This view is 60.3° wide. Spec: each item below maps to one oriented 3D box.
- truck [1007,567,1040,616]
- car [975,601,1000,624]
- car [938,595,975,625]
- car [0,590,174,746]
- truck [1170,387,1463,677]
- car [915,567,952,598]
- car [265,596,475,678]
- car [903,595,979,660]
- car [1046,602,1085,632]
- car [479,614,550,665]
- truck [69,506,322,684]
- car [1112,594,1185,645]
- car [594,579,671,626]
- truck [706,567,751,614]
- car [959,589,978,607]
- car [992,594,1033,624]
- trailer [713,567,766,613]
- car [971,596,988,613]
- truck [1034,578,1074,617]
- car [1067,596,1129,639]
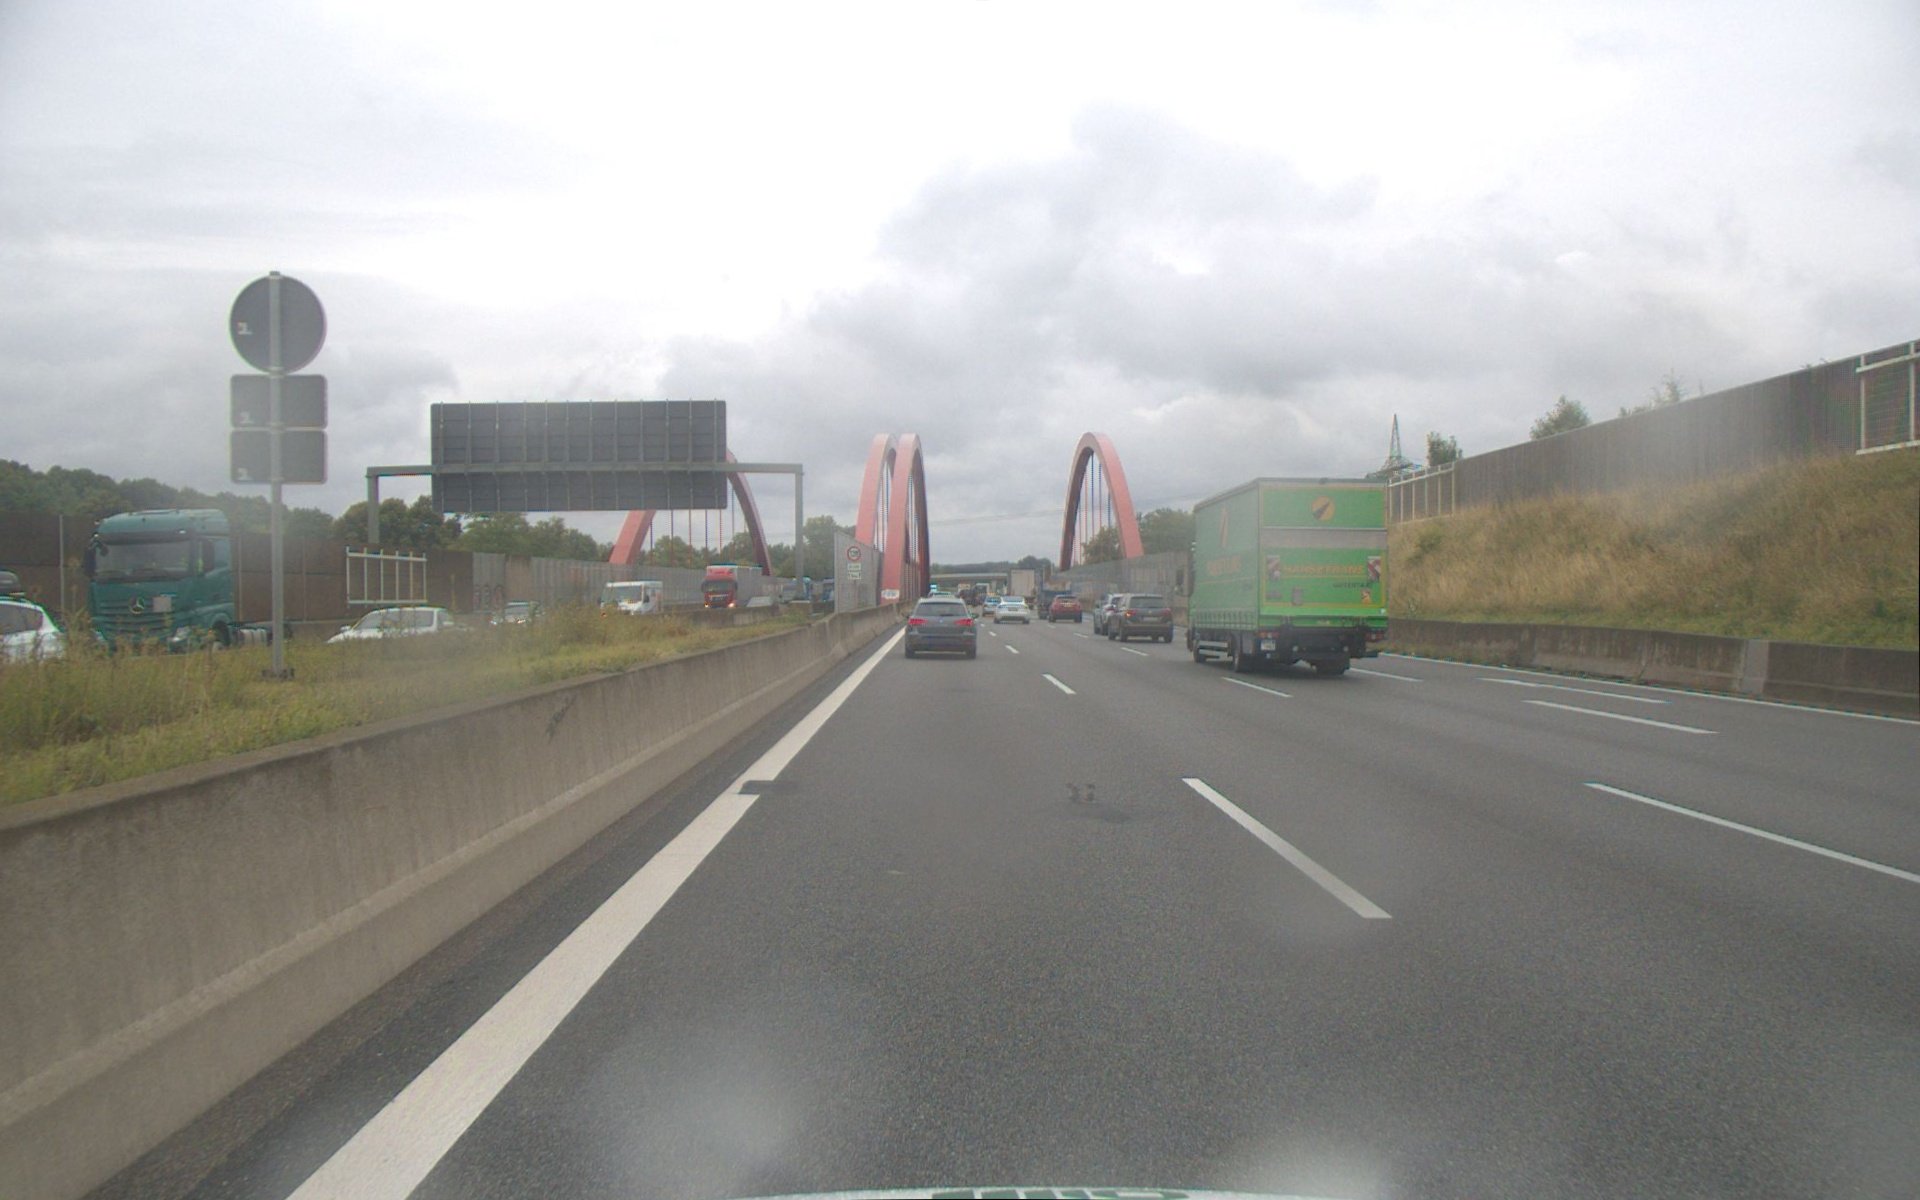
[{"bbox_3d":[6.418,-0.818,168.288,2.982,4.817,7.679,1,0,0],"label":"truck"},{"bbox_3d":[1.932,0.890,117.263,1.667,1.570,3.838,0,0,-1],"label":"car"},{"bbox_3d":[-0.207,0.460,80.609,1.745,1.431,3.625,1,0,-1],"label":"car"},{"bbox_3d":[-13.757,0.891,24.117,1.953,2.049,5.617,1,0,-1],"label":"car"},{"bbox_3d":[7.430,-1.278,36.732,3.916,5.358,11.218,1,0,0],"label":"truck"},{"bbox_3d":[-1.469,-0.947,90.473,1.953,1.612,3.999,-1,0,-2],"label":"car"},{"bbox_3d":[-10.350,0.594,29.466,1.953,1.309,5.227,1,0,-1],"label":"car"},{"bbox_3d":[-0.445,0.629,40.137,1.728,1.478,4.000,1,0,0],"label":"car"},{"bbox_3d":[6.140,0.957,96.982,1.917,1.676,3.999,1,0,-1],"label":"car"},{"bbox_3d":[-18.600,1.627,69.227,1.953,2.015,3.999,1,0,-2],"label":"car"},{"bbox_3d":[-18.479,-0.119,40.609,2.804,3.905,7.520,1,0,-1],"label":"truck"},{"bbox_3d":[6.447,0.646,57.014,1.873,1.699,4.102,1,0,-3],"label":"car"},{"bbox_3d":[-14.894,0.098,75.669,2.169,2.049,7.058,1,0,-1],"label":"car"},{"bbox_3d":[-18.953,-0.777,135.852,2.923,3.819,5.915,1,0,-1],"label":"truck"},{"bbox_3d":[0.855,-0.214,177.403,1.953,1.847,4.000,1,0,-1],"label":"car"},{"bbox_3d":[2.788,0.470,88.539,1.953,1.512,3.999,1,0,-1],"label":"car"},{"bbox_3d":[-19.067,-0.857,143.854,2.923,3.794,14.305,1,0,-1],"label":"trailer"},{"bbox_3d":[2.315,0.537,199.900,1.953,2.049,3.999,1,0,-1],"label":"car"},{"bbox_3d":[6.292,-0.194,111.669,2.313,2.550,6.143,1,0,0],"label":"truck"},{"bbox_3d":[5.596,0.683,67.564,1.953,1.647,5.326,1,0,-1],"label":"car"}]
